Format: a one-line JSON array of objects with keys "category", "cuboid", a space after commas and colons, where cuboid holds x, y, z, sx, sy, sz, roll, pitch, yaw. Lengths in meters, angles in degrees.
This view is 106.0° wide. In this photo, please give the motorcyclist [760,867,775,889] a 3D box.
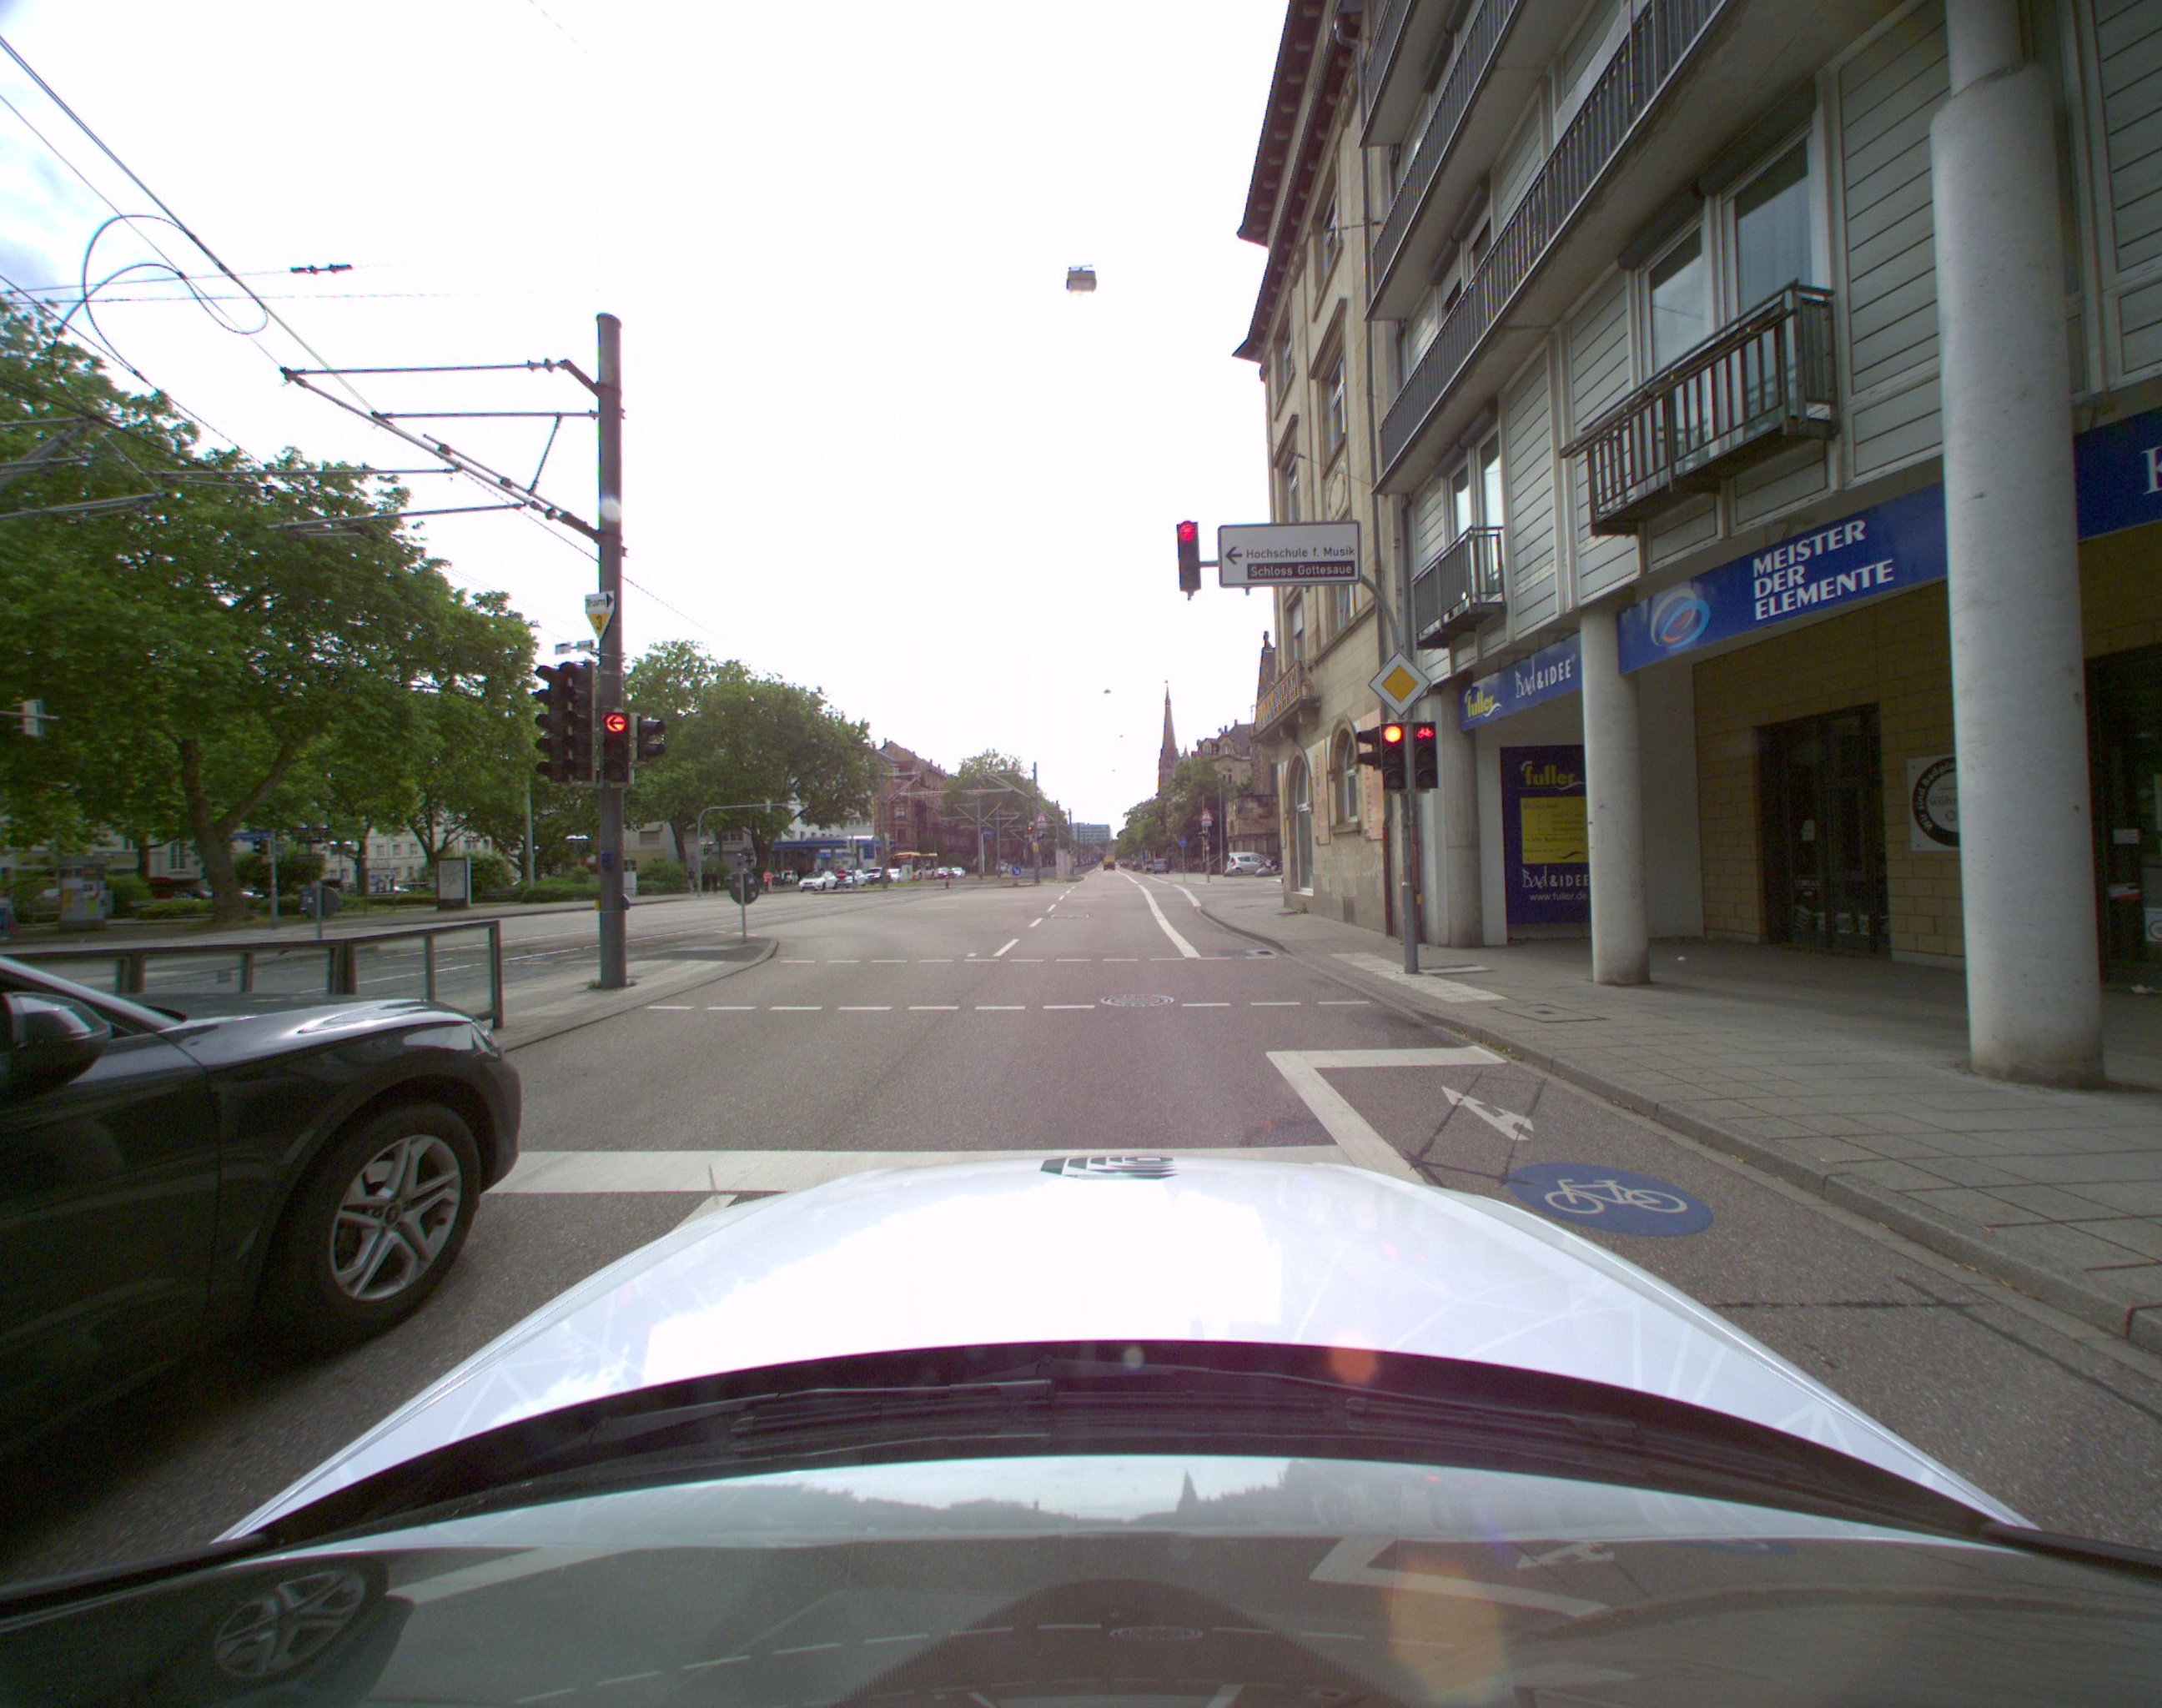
[{"category": "motorcyclist", "cuboid": [-21.601, 1.656, 56.056, 0.617, 1.520, 0.874, -2, -1, 2]}]

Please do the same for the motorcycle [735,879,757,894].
[{"category": "motorcycle", "cuboid": [-22.670, 2.181, 55.165, 0.604, 0.928, 1.953, -2, -1, 2]}]

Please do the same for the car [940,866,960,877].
[{"category": "car", "cuboid": [-16.508, 2.194, 102.804, 1.649, 1.321, 3.641, 0, -1, 3]}]

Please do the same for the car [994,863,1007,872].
[{"category": "car", "cuboid": [-14.783, 2.450, 149.907, 1.986, 1.610, 4.001, 0, -1, 2]}]

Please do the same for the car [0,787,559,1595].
[{"category": "car", "cuboid": [-3.071, 0.685, 1.235, 1.727, 1.637, 4.228, 0, -1, 2]}]

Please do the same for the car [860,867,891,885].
[{"category": "car", "cuboid": [-18.326, 1.932, 72.726, 1.649, 1.478, 3.641, 0, -1, 3]}]

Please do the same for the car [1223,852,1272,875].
[{"category": "car", "cuboid": [13.930, 0.792, 68.242, 3.699, 1.855, 2.001, 0, -1, 2]}]

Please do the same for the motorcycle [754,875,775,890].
[{"category": "motorcycle", "cuboid": [-21.641, 1.960, 55.721, 0.604, 0.928, 1.953, -2, -1, 2]}]

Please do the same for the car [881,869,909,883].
[{"category": "car", "cuboid": [-18.154, 2.104, 79.647, 1.649, 1.321, 3.641, 0, -1, 3]}]

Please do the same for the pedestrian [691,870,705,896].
[{"category": "pedestrian", "cuboid": [-25.859, 1.978, 55.006, 0.691, 1.713, 0.864, -1, -1, -19]}]

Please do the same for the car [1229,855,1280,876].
[{"category": "car", "cuboid": [13.752, 0.909, 64.766, 3.699, 1.563, 2.001, 0, -1, 2]}]

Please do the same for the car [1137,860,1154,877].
[{"category": "car", "cuboid": [7.897, 1.702, 99.608, 1.985, 2.014, 4.004, 0, -1, 4]}]

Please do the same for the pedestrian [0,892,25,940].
[{"category": "pedestrian", "cuboid": [-34.715, 1.992, 26.271, 0.674, 1.510, 0.661, -2, -1, 28]}]

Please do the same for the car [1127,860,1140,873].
[{"category": "car", "cuboid": [8.697, 2.058, 135.983, 1.986, 2.014, 4.001, 0, -1, 2]}]

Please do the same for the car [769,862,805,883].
[{"category": "car", "cuboid": [-29.705, 1.817, 82.399, 1.986, 2.014, 4.001, -2, -1, 2]}]

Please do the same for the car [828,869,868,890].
[{"category": "car", "cuboid": [-18.841, 2.059, 66.083, 1.986, 1.594, 4.001, 0, -1, 2]}]

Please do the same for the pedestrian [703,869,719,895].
[{"category": "pedestrian", "cuboid": [-25.135, 1.880, 55.351, 0.875, 1.713, 0.868, -1, -1, -19]}]

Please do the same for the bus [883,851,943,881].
[{"category": "bus", "cuboid": [-18.294, 1.303, 89.724, 3.217, 3.035, 12.323, 0, 0, 4]}]

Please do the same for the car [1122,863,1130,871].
[{"category": "car", "cuboid": [11.927, 3.379, 216.791, 1.986, 2.014, 4.001, 0, -1, 2]}]

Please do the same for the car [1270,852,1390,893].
[{"category": "car", "cuboid": [10.338, 0.739, 33.815, 4.541, 1.563, 1.985, -1, 0, -23]}]

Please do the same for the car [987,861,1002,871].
[{"category": "car", "cuboid": [-15.043, 2.068, 142.098, 1.986, 1.610, 4.001, 0, -1, 2]}]

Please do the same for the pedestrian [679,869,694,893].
[{"category": "pedestrian", "cuboid": [-28.185, 1.946, 58.210, 0.680, 1.690, 0.743, 0, -1, 6]}]

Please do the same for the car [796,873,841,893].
[{"category": "car", "cuboid": [-19.163, 2.079, 59.543, 1.739, 1.321, 4.079, 0, -1, 4]}]

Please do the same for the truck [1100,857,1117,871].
[{"category": "truck", "cuboid": [5.652, 2.041, 165.023, 3.042, 2.769, 9.824, -2, 0, 3]}]

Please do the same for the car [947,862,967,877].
[{"category": "car", "cuboid": [-16.738, 2.067, 110.332, 1.986, 2.014, 4.001, 0, -1, 2]}]

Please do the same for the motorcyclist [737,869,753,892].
[{"category": "motorcyclist", "cuboid": [-22.684, 1.810, 54.997, 0.617, 1.520, 0.874, -2, -1, 2]}]

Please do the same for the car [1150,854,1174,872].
[{"category": "car", "cuboid": [8.978, 0.991, 89.956, 1.979, 1.855, 4.042, -1, -1, 14]}]
